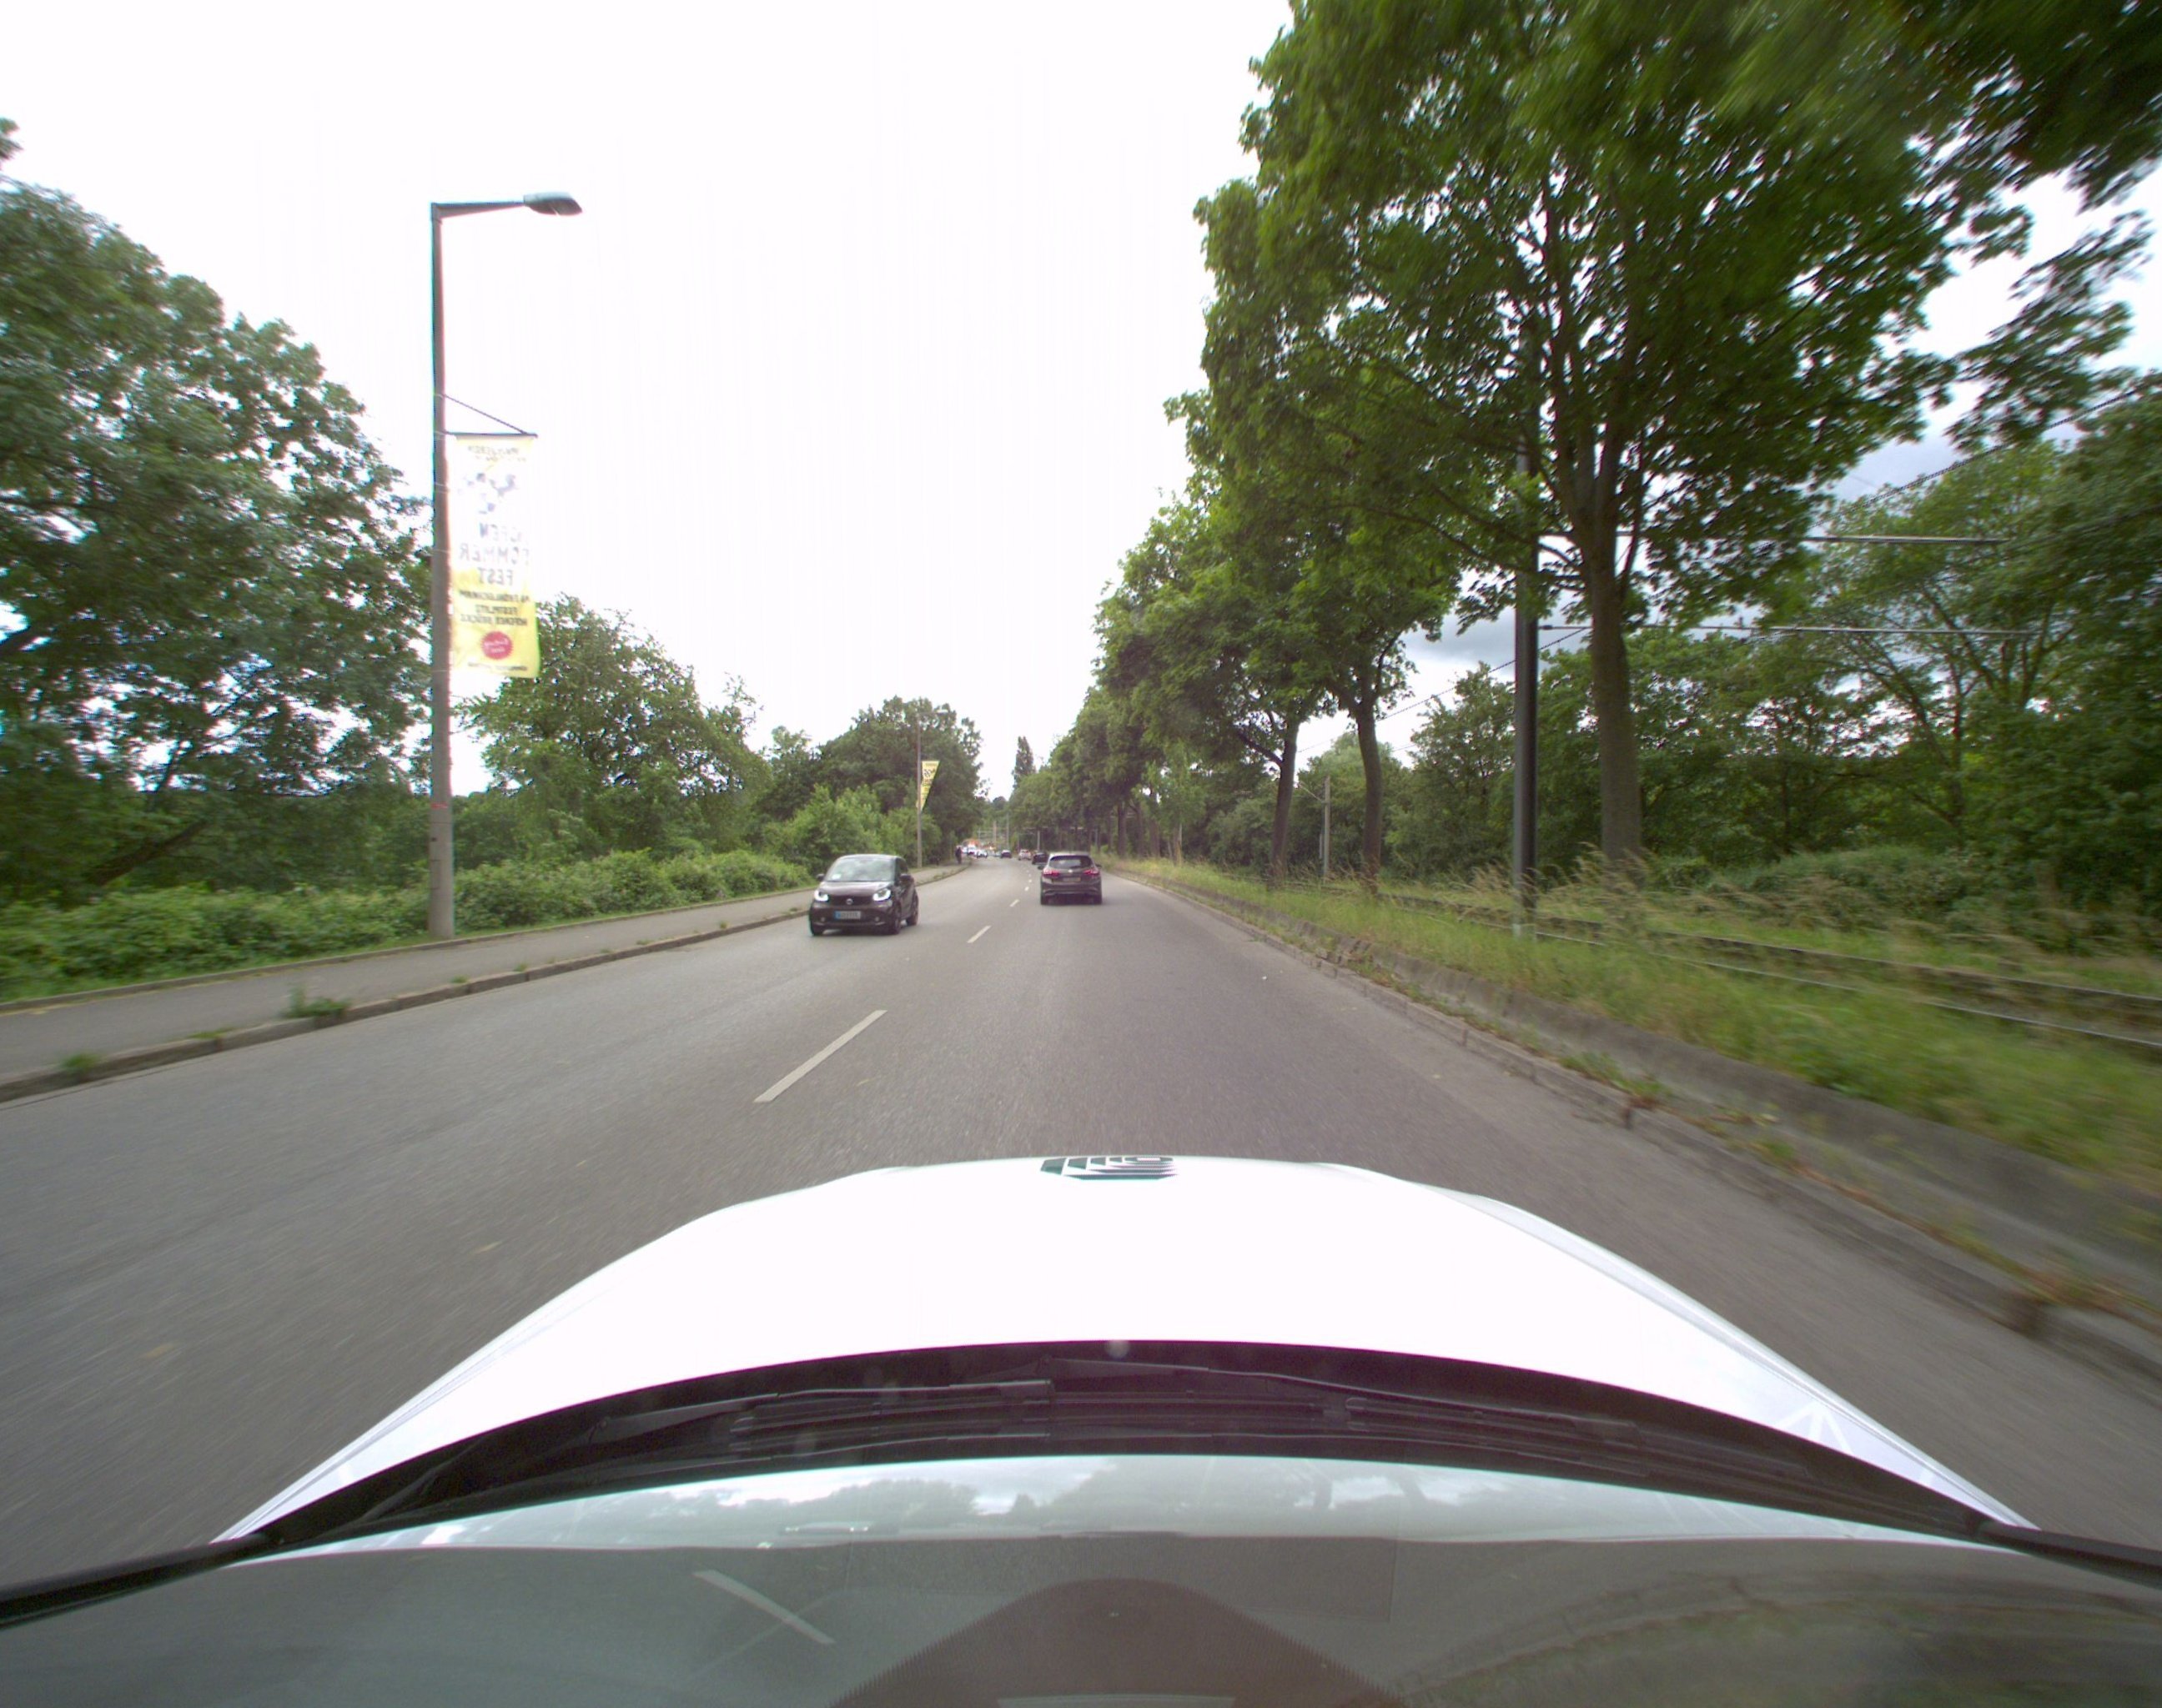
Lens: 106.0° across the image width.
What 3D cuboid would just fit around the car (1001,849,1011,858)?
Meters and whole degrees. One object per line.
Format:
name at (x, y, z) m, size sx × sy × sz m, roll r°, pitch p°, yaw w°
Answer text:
car at (-13.224, -0.139, 143.635) m, size 1.773 × 1.472 × 3.992 m, roll 2°, pitch 1°, yaw -6°

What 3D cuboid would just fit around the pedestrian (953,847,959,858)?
pedestrian at (-17.810, -0.204, 116.024) m, size 0.694 × 1.621 × 0.683 m, roll 2°, pitch 1°, yaw -5°

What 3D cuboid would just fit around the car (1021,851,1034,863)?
car at (-7.536, 0.393, 115.368) m, size 1.772 × 1.472 × 3.996 m, roll 2°, pitch 1°, yaw -3°

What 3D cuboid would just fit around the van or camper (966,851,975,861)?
van or camper at (-25.462, 0.528, 186.840) m, size 1.925 × 2.151 × 3.920 m, roll 2°, pitch 1°, yaw -9°

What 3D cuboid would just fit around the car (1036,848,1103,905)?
car at (-0.424, 0.603, 24.687) m, size 1.813 × 1.508 × 3.994 m, roll -1°, pitch 1°, yaw -4°

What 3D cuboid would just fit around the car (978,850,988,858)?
car at (-17.867, 0.032, 148.186) m, size 1.747 × 1.464 × 3.912 m, roll 1°, pitch 0°, yaw -6°

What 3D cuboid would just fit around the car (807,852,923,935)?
car at (-4.289, 0.721, 16.568) m, size 1.591 × 1.506 × 3.026 m, roll -1°, pitch 0°, yaw -1°

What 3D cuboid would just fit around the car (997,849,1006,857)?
car at (-15.362, -0.204, 157.516) m, size 1.773 × 1.472 × 3.992 m, roll 1°, pitch 1°, yaw -6°

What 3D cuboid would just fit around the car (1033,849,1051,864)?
car at (-4.089, 0.224, 85.508) m, size 1.771 × 1.472 × 3.998 m, roll 2°, pitch 1°, yaw -2°

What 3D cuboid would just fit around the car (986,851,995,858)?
car at (-19.862, 0.140, 179.005) m, size 1.773 × 1.472 × 3.992 m, roll 2°, pitch 1°, yaw -6°

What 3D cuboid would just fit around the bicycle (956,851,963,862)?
bicycle at (-12.171, 0.251, 81.647) m, size 0.487 × 1.030 × 1.123 m, roll 2°, pitch 1°, yaw -4°

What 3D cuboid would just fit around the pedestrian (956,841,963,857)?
pedestrian at (-12.180, -0.522, 81.575) m, size 0.616 × 1.571 × 0.848 m, roll 2°, pitch 1°, yaw -4°
